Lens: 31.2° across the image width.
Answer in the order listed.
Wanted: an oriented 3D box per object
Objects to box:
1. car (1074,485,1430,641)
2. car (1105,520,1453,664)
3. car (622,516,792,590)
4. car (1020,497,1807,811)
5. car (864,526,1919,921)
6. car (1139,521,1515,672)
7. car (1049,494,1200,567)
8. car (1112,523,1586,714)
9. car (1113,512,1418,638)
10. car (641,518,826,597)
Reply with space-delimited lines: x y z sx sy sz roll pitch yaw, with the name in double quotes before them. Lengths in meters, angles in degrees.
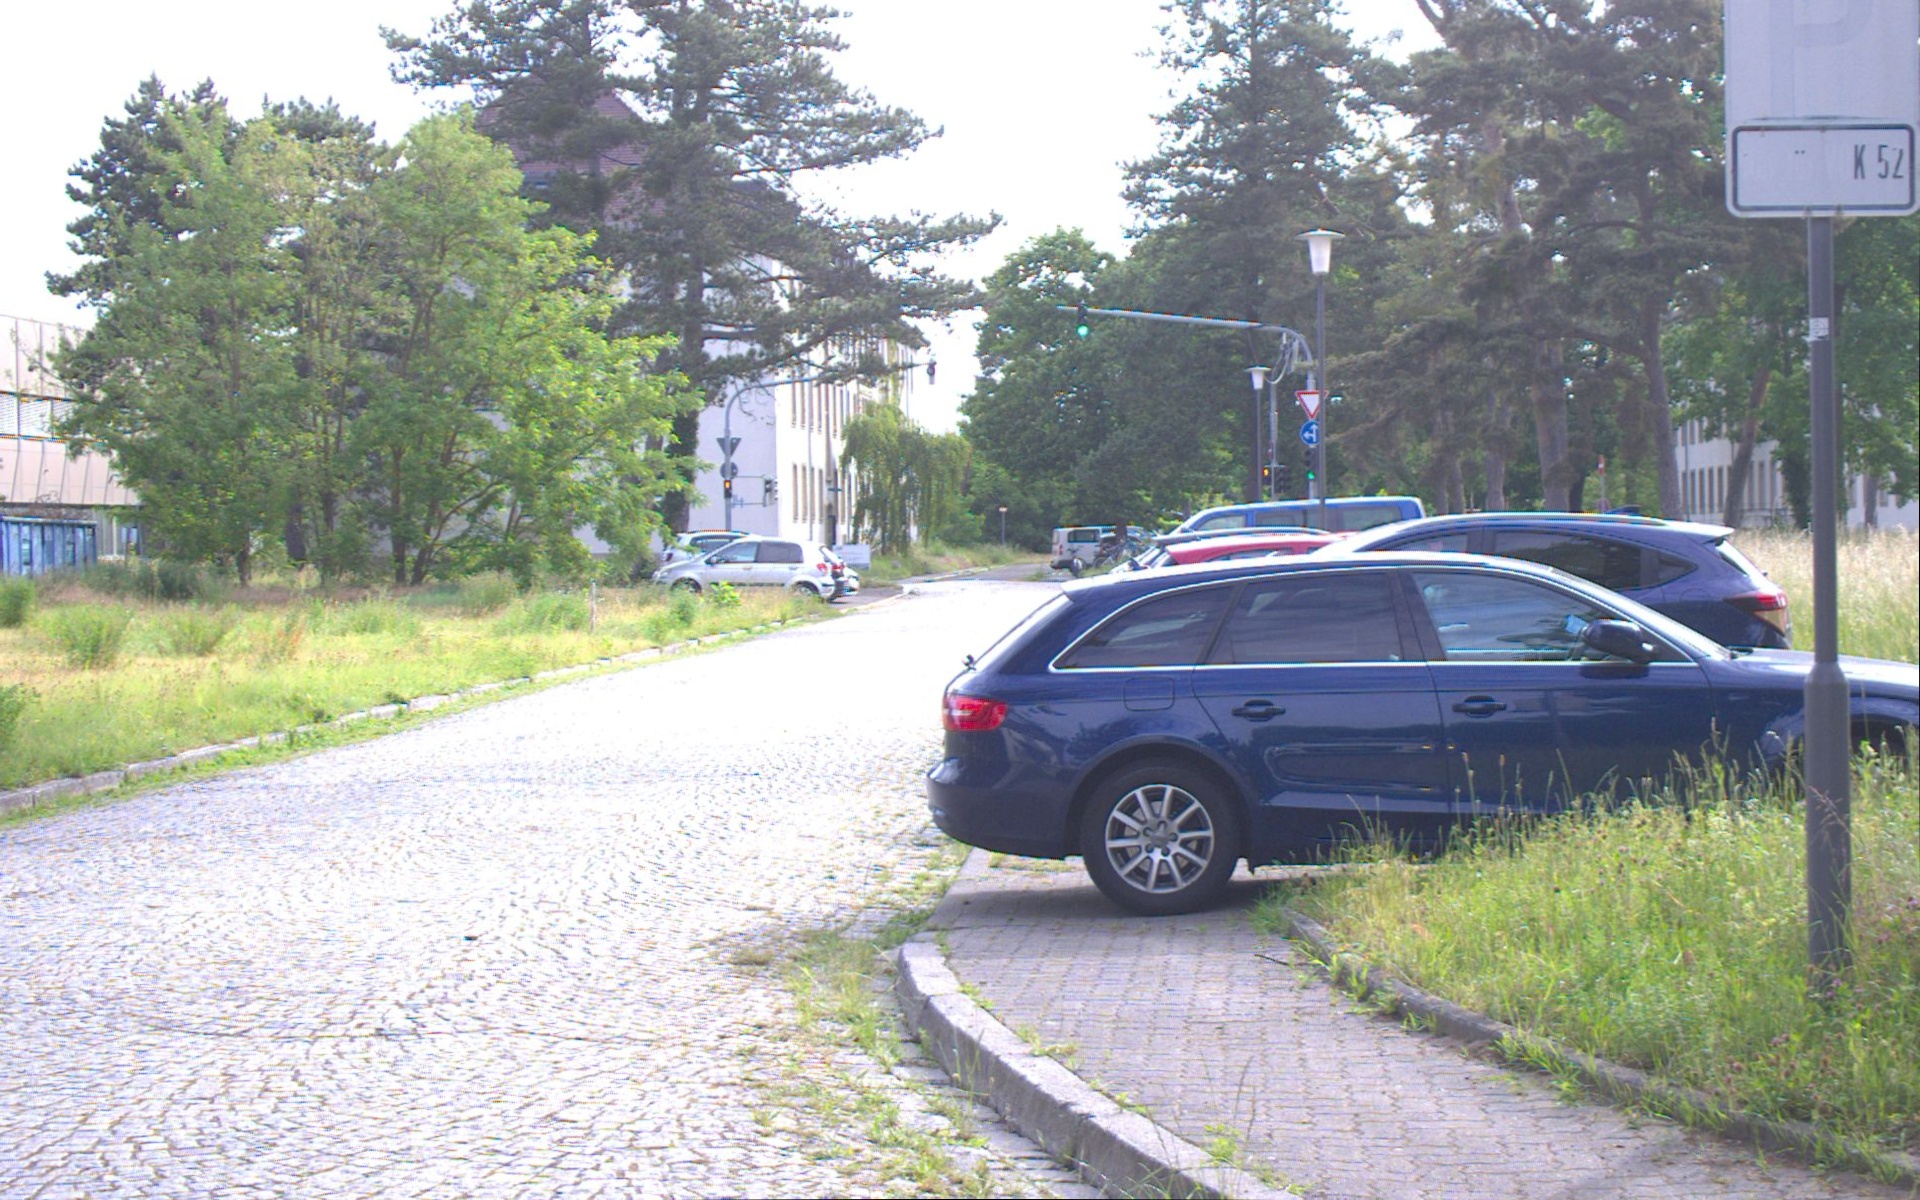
"car" 4.093 -0.545 48.861 4.821 1.859 2.162 -4 2 2
"car" 3.665 -0.104 40.014 3.906 1.598 1.821 -1 1 1
"car" -5.694 -1.077 77.589 3.719 1.433 1.627 -3 2 -4
"car" 2.450 0.265 19.198 4.138 1.567 1.790 -1 2 3
"car" 1.935 0.485 14.431 4.432 1.475 1.682 -1 1 7
"car" 3.951 -0.044 37.337 3.941 1.515 1.707 -1 1 4
"car" 6.646 -2.829 139.595 5.780 2.553 2.770 -4 2 -1
"car" 3.281 0.139 29.463 3.884 1.473 1.671 -2 1 3
"car" 4.056 -0.350 46.126 3.920 1.388 1.743 -4 2 2
"car" -4.739 -0.911 72.199 3.719 1.433 1.627 -3 2 0
